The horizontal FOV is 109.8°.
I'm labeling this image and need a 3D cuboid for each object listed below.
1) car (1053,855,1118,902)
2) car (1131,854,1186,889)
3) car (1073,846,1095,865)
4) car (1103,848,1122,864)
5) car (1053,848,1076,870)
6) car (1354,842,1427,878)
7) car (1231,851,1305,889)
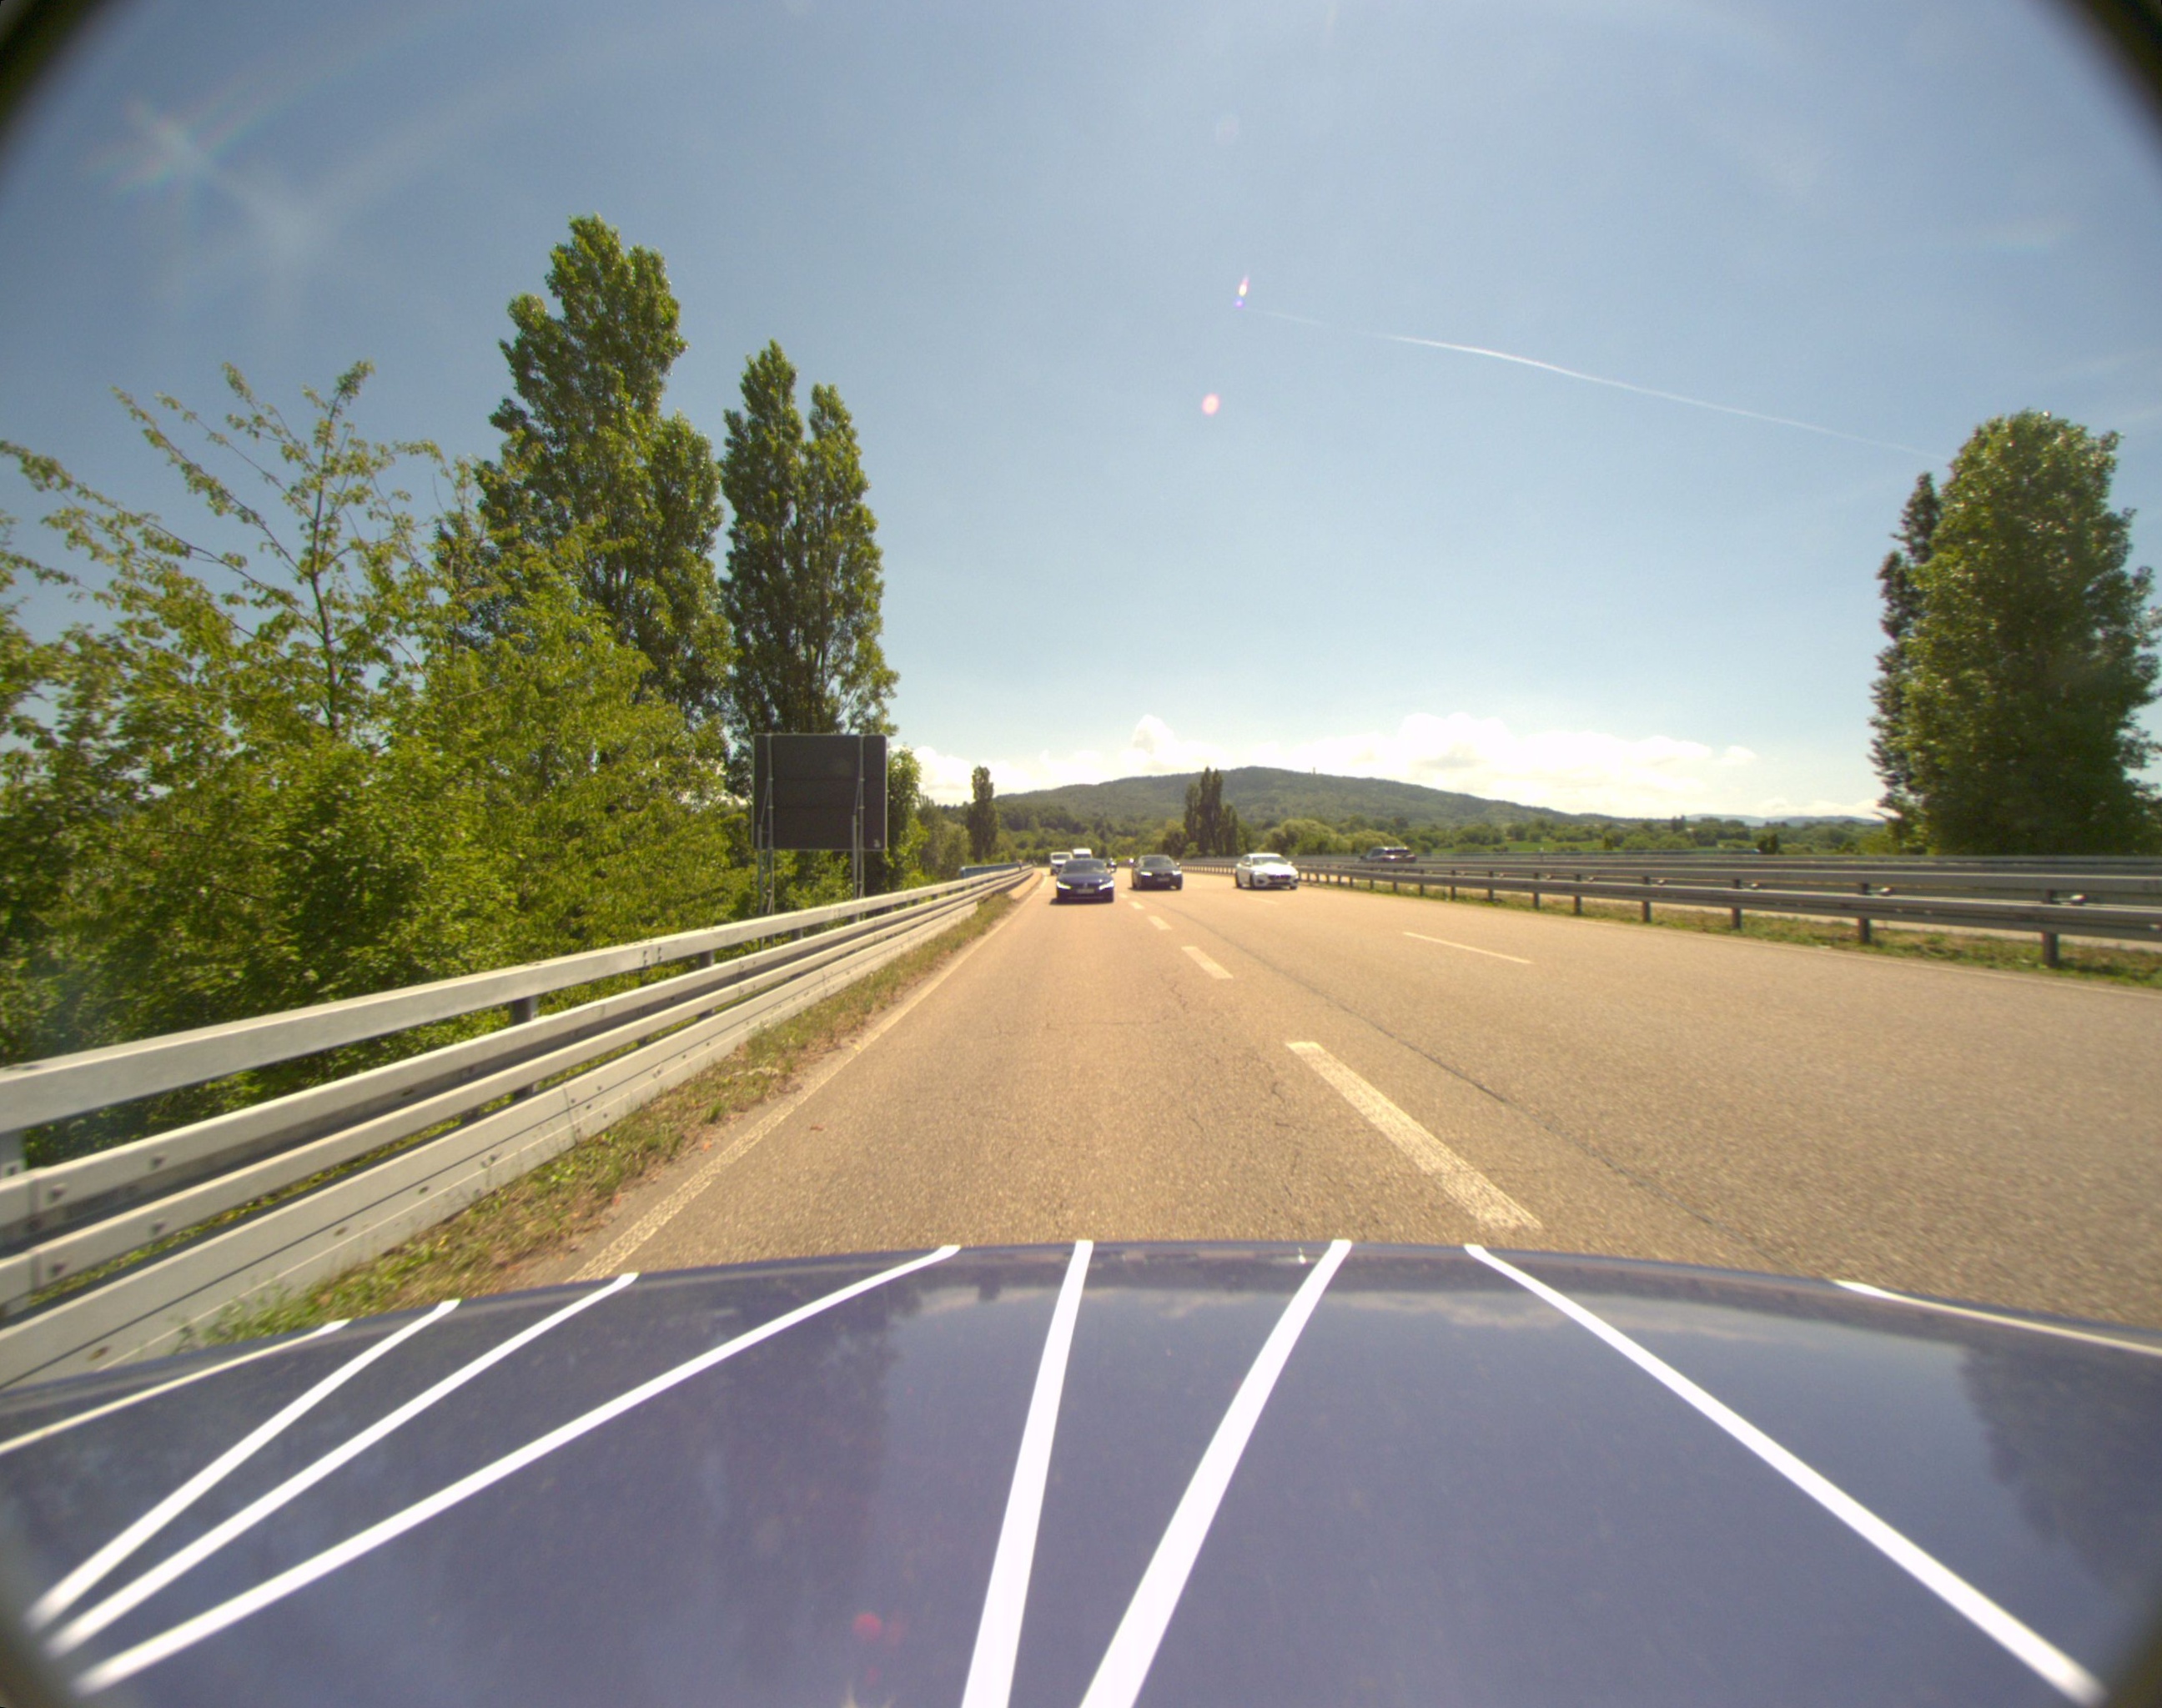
[{"bbox_3d":[0.052,0.756,25.669,1.846,1.399,4.468,-2,0,-4],"label":"car"},{"bbox_3d":[3.308,0.715,33.155,1.846,1.399,4.469,-2,0,0],"label":"car"},{"bbox_3d":[0.323,0.168,83.487,2.009,1.987,4.577,-2,0,-5],"label":"car"},{"bbox_3d":[3.972,0.271,97.299,2.008,1.987,4.578,-1,0,-2],"label":"car"},{"bbox_3d":[-1.475,0.405,66.042,1.885,1.723,4.468,-2,0,-3],"label":"car"},{"bbox_3d":[14.941,0.261,36.948,1.830,1.638,4.188,-1,1,0],"label":"car"},{"bbox_3d":[7.669,0.613,31.623,1.846,1.399,4.468,-2,0,-2],"label":"car"}]
